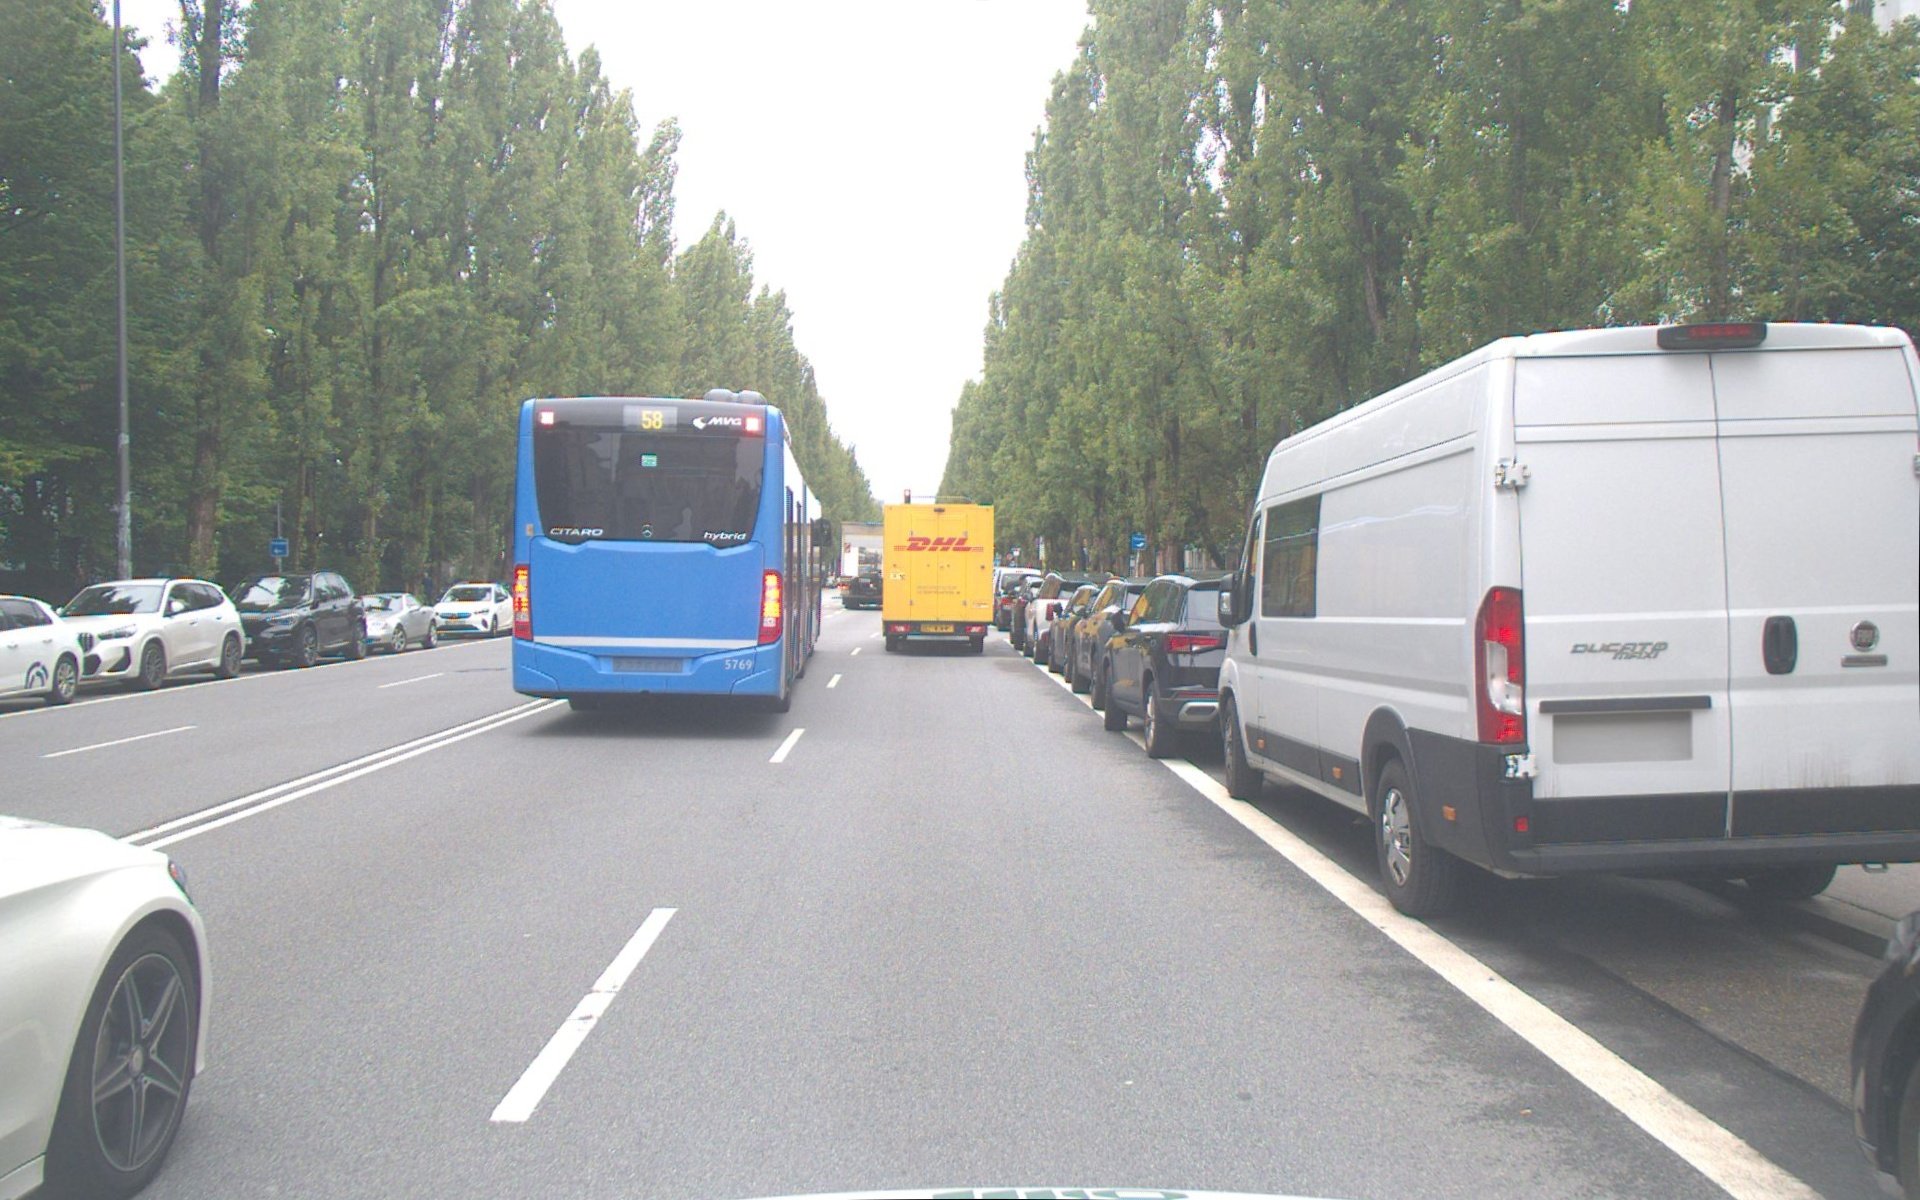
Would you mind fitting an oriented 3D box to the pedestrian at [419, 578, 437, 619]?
[{"bbox_3d":[-23.454,-0.077,72.956,0.587,1.769,0.640,-1,1,-2],"label":"pedestrian"}]

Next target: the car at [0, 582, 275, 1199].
[{"bbox_3d":[-2.715,0.717,2.240,1.789,1.480,4.581,1,1,-2],"label":"car"}]

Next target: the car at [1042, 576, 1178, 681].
[{"bbox_3d":[2.284,0.384,26.107,1.600,1.471,4.147,2,1,-2],"label":"car"}]

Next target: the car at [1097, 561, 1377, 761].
[{"bbox_3d":[2.442,0.470,15.624,1.784,1.618,4.222,0,1,-2],"label":"car"}]

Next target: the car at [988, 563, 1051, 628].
[{"bbox_3d":[1.858,-0.168,52.804,1.769,2.010,4.236,0,1,-1],"label":"car"}]

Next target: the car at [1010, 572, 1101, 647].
[{"bbox_3d":[2.032,0.162,36.173,1.690,1.521,4.323,0,1,-1],"label":"car"}]

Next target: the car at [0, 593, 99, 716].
[{"bbox_3d":[-12.301,0.690,19.982,1.642,1.447,4.236,-2,1,-2],"label":"car"}]

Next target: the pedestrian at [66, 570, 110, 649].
[{"bbox_3d":[-20.780,0.217,39.408,0.627,1.847,0.775,0,1,-2],"label":"pedestrian"}]

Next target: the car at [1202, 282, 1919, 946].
[{"bbox_3d":[2.971,0.011,9.478,2.032,2.522,6.282,1,1,-2],"label":"car"}]

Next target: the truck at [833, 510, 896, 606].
[{"bbox_3d":[-4.343,-1.860,74.956,2.662,4.034,9.212,0,1,-4],"label":"truck"}]

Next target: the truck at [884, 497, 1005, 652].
[{"bbox_3d":[-0.425,-0.538,35.046,2.281,2.948,7.330,0,1,-2],"label":"truck"}]

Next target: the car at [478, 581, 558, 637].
[{"bbox_3d":[-13.281,0.238,49.929,1.710,1.545,4.112,-2,1,-7],"label":"car"}]

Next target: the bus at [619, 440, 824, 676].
[{"bbox_3d":[-3.814,-0.677,28.588,2.815,3.361,9.781,0,1,-4],"label":"bus"}]

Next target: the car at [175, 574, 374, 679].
[{"bbox_3d":[-12.611,0.410,30.787,1.843,1.687,4.716,-3,1,-3],"label":"car"}]

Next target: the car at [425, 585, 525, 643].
[{"bbox_3d":[-13.222,0.353,45.290,1.651,1.437,4.003,-2,1,-3],"label":"car"}]

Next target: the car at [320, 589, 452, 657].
[{"bbox_3d":[-12.694,0.471,36.819,1.548,1.327,4.028,-2,1,-1],"label":"car"}]

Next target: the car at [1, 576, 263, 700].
[{"bbox_3d":[-12.505,0.504,25.329,1.749,1.616,4.461,-3,1,-1],"label":"car"}]

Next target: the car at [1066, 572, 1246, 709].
[{"bbox_3d":[2.346,0.427,20.712,1.618,1.529,4.112,1,1,-2],"label":"car"}]

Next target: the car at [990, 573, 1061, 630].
[{"bbox_3d":[1.831,0.013,47.289,1.825,1.579,4.000,0,1,-1],"label":"car"}]

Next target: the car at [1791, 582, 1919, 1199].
[{"bbox_3d":[3.059,0.758,2.233,1.719,1.475,3.999,2,1,-2],"label":"car"}]

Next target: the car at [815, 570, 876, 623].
[{"bbox_3d":[-4.177,-0.158,60.760,1.994,1.833,4.506,-1,1,-1],"label":"car"}]

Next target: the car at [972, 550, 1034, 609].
[{"bbox_3d":[1.537,-0.770,61.142,2.011,2.048,5.691,-1,1,-1],"label":"car"}]

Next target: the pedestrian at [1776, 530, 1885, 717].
[{"bbox_3d":[8.927,0.223,16.981,0.643,1.871,0.782,-1,1,-15],"label":"pedestrian"}]

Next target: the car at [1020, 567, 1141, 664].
[{"bbox_3d":[2.153,0.236,30.501,1.745,1.609,4.145,2,1,-2],"label":"car"}]

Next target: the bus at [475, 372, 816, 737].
[{"bbox_3d":[-3.213,-0.481,19.410,2.799,3.269,9.054,0,1,-4],"label":"bus"}]
